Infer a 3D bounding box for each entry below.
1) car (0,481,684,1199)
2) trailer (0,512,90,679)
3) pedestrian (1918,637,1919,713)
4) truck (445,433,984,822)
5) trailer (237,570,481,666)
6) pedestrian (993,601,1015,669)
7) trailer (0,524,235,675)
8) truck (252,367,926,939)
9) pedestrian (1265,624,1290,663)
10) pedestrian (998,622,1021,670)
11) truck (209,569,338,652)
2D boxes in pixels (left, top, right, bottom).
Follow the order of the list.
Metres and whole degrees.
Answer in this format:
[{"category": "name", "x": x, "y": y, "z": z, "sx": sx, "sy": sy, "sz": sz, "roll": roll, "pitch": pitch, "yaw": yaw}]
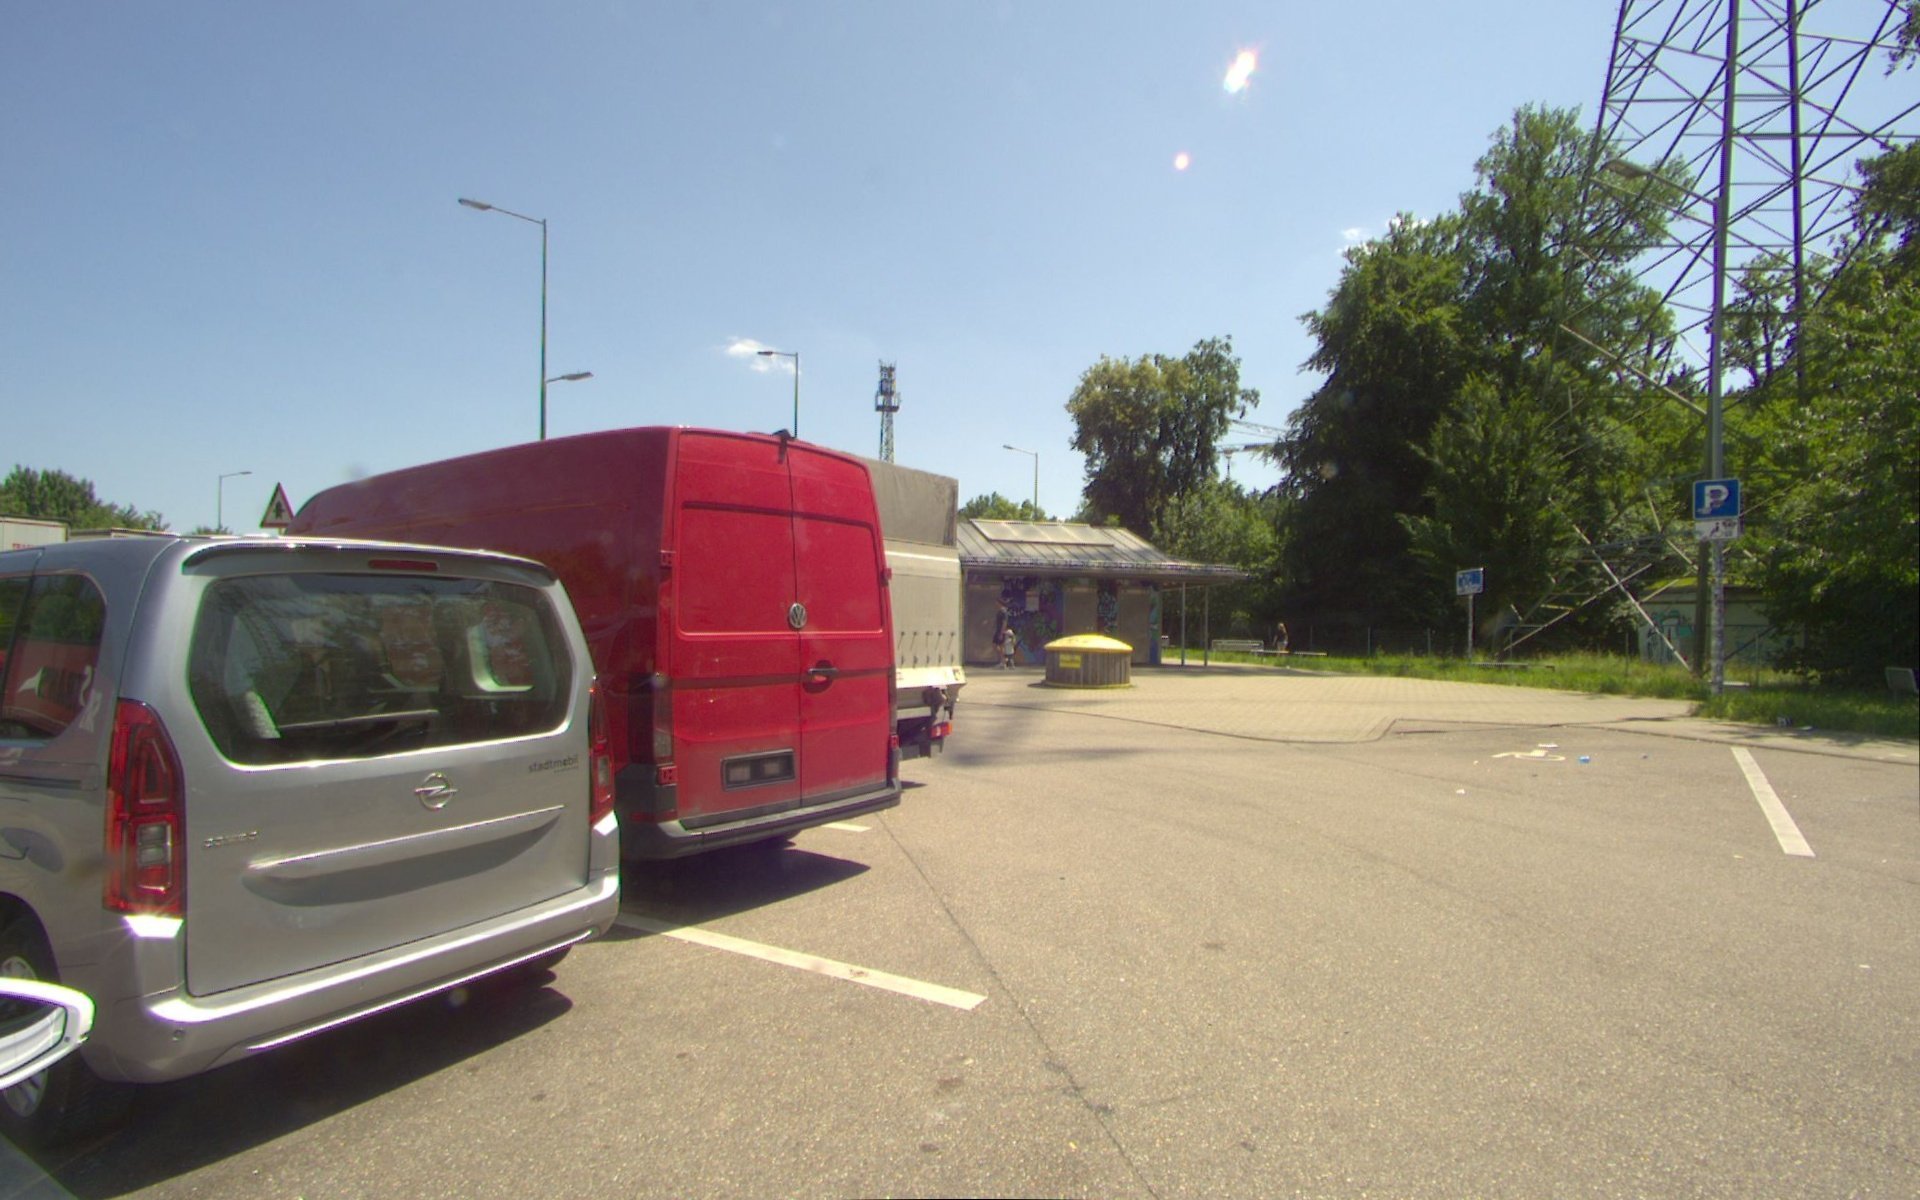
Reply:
[{"category": "car", "x": -3.368, "y": 0.689, "z": 4.243, "sx": 4.113, "sy": 1.887, "sz": 1.868, "roll": 1, "pitch": -2, "yaw": 31}, {"category": "trailer", "x": -29.001, "y": -0.258, "z": 28.137, "sx": 14.184, "sy": 4.040, "sz": 2.808, "roll": 2, "pitch": -2, "yaw": 33}, {"category": "pedestrian", "x": 17.273, "y": 1.322, "z": 17.470, "sx": 0.690, "sy": 1.352, "sz": 0.561, "roll": -1, "pitch": -1, "yaw": 33}, {"category": "truck", "x": -2.724, "y": 0.306, "z": 10.281, "sx": 5.582, "sy": 2.949, "sz": 2.449, "roll": -2, "pitch": -2, "yaw": 37}, {"category": "trailer", "x": -26.083, "y": 0.646, "z": 42.898, "sx": 14.184, "sy": 3.552, "sz": 2.808, "roll": 2, "pitch": -2, "yaw": 33}, {"category": "pedestrian", "x": 1.175, "y": 0.943, "z": 26.770, "sx": 0.523, "sy": 1.796, "sz": 0.437, "roll": 0, "pitch": -1, "yaw": -10}, {"category": "trailer", "x": -27.937, "y": -0.100, "z": 31.783, "sx": 14.184, "sy": 4.040, "sz": 2.808, "roll": 2, "pitch": -2, "yaw": 33}, {"category": "truck", "x": -2.875, "y": 0.339, "z": 7.042, "sx": 5.238, "sy": 2.655, "sz": 1.972, "roll": -2, "pitch": -2, "yaw": 38}, {"category": "pedestrian", "x": 13.836, "y": 1.900, "z": 43.663, "sx": 0.781, "sy": 1.658, "sz": 0.733, "roll": 1, "pitch": -1, "yaw": -32}, {"category": "pedestrian", "x": 1.305, "y": 1.196, "z": 26.276, "sx": 0.523, "sy": 1.254, "sz": 0.437, "roll": 0, "pitch": -1, "yaw": -10}, {"category": "truck", "x": -32.077, "y": 0.467, "z": 46.756, "sx": 5.813, "sy": 3.566, "sz": 2.799, "roll": 2, "pitch": -2, "yaw": 33}]
